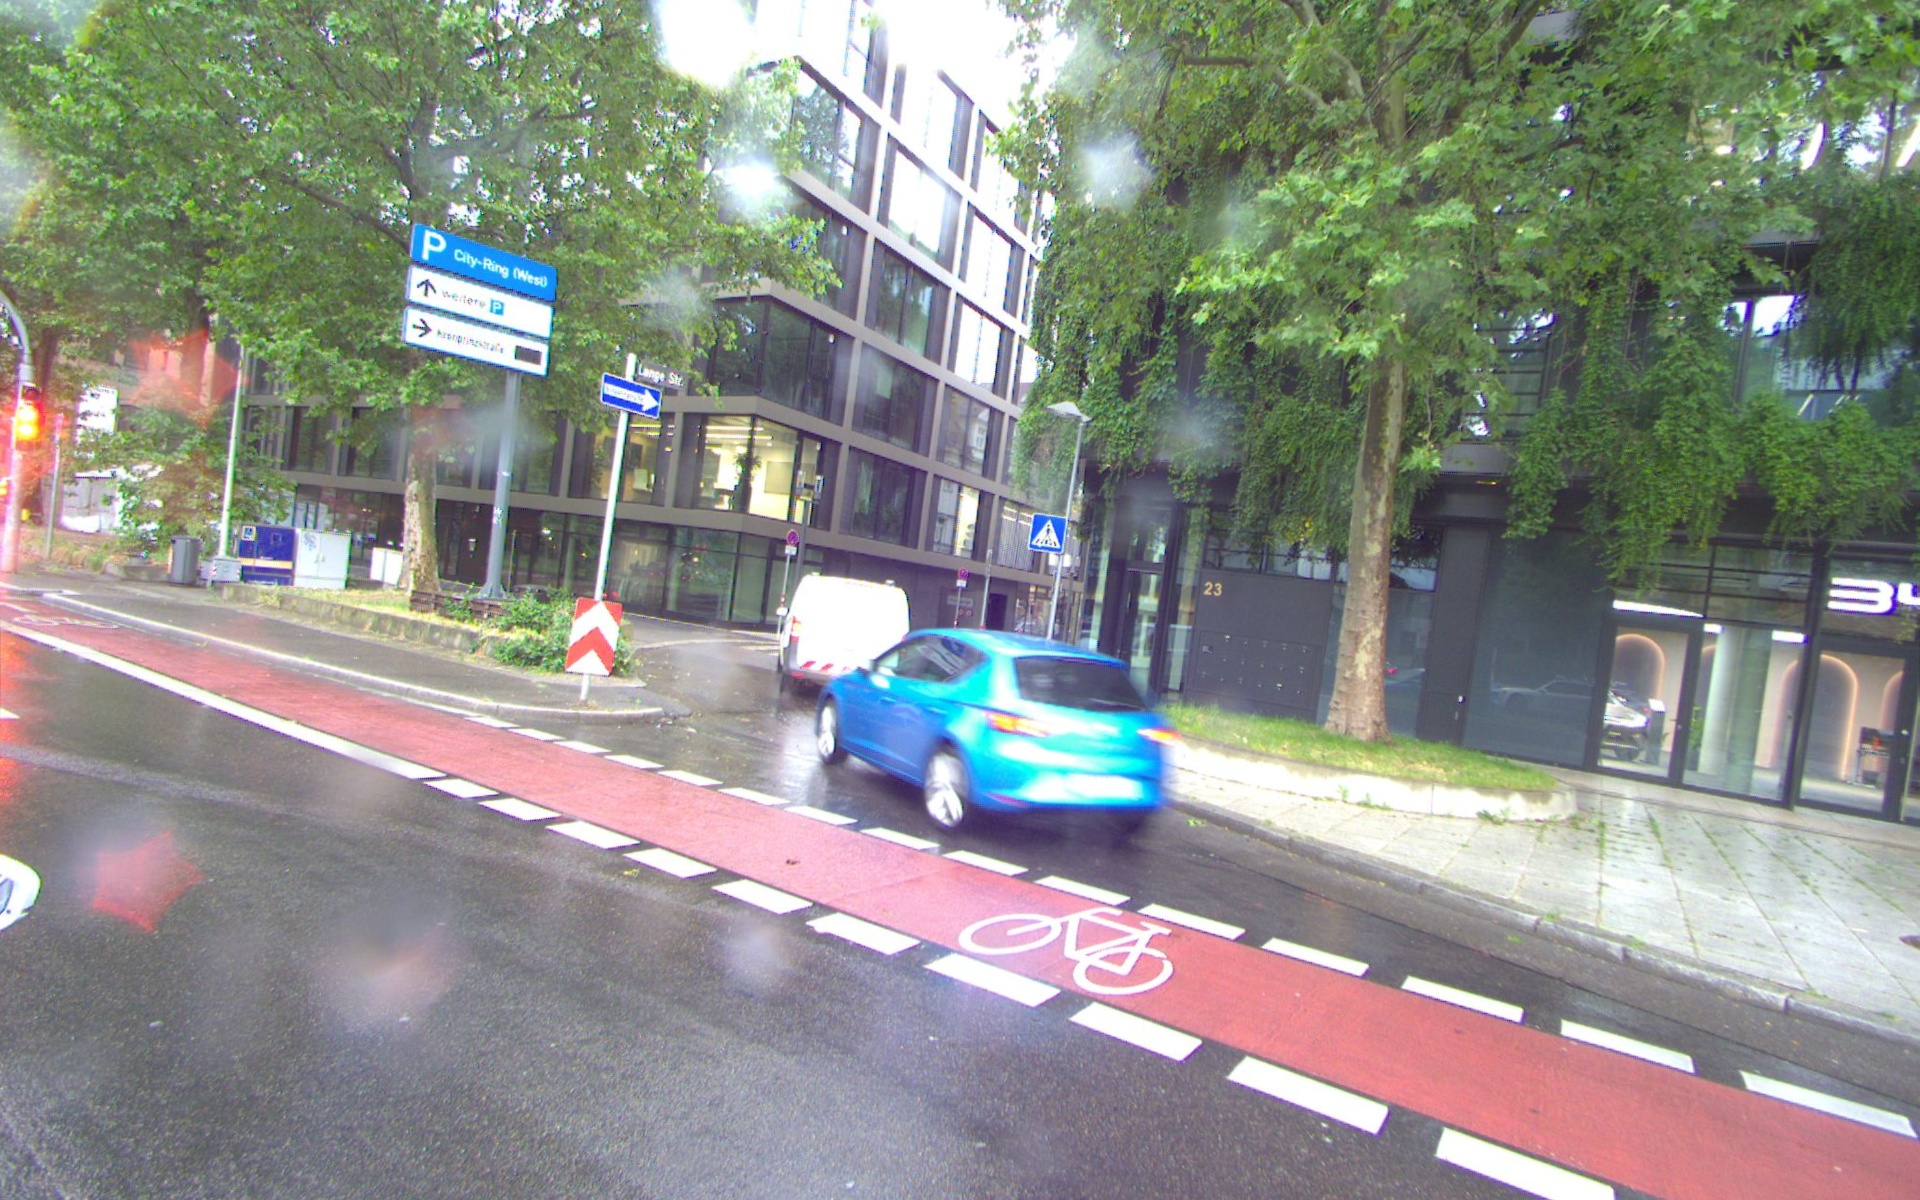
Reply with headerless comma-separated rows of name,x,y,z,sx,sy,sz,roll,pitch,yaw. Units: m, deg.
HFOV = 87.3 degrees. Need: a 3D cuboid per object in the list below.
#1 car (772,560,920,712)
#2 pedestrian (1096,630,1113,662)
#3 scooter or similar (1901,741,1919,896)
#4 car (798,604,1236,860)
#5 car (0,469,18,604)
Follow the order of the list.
car,-2.102,0.512,17.092,1.894,1.969,4.954,8,-1,-11
pedestrian,7.349,2.345,51.223,0.537,1.579,0.503,6,-1,29
scooter or similar,8.504,1.880,8.106,0.528,1.297,1.184,7,-1,-8
car,0.184,0.936,8.510,1.781,1.452,4.037,9,-2,-27
car,-12.157,-0.763,10.845,3.935,1.717,1.881,6,-2,33
